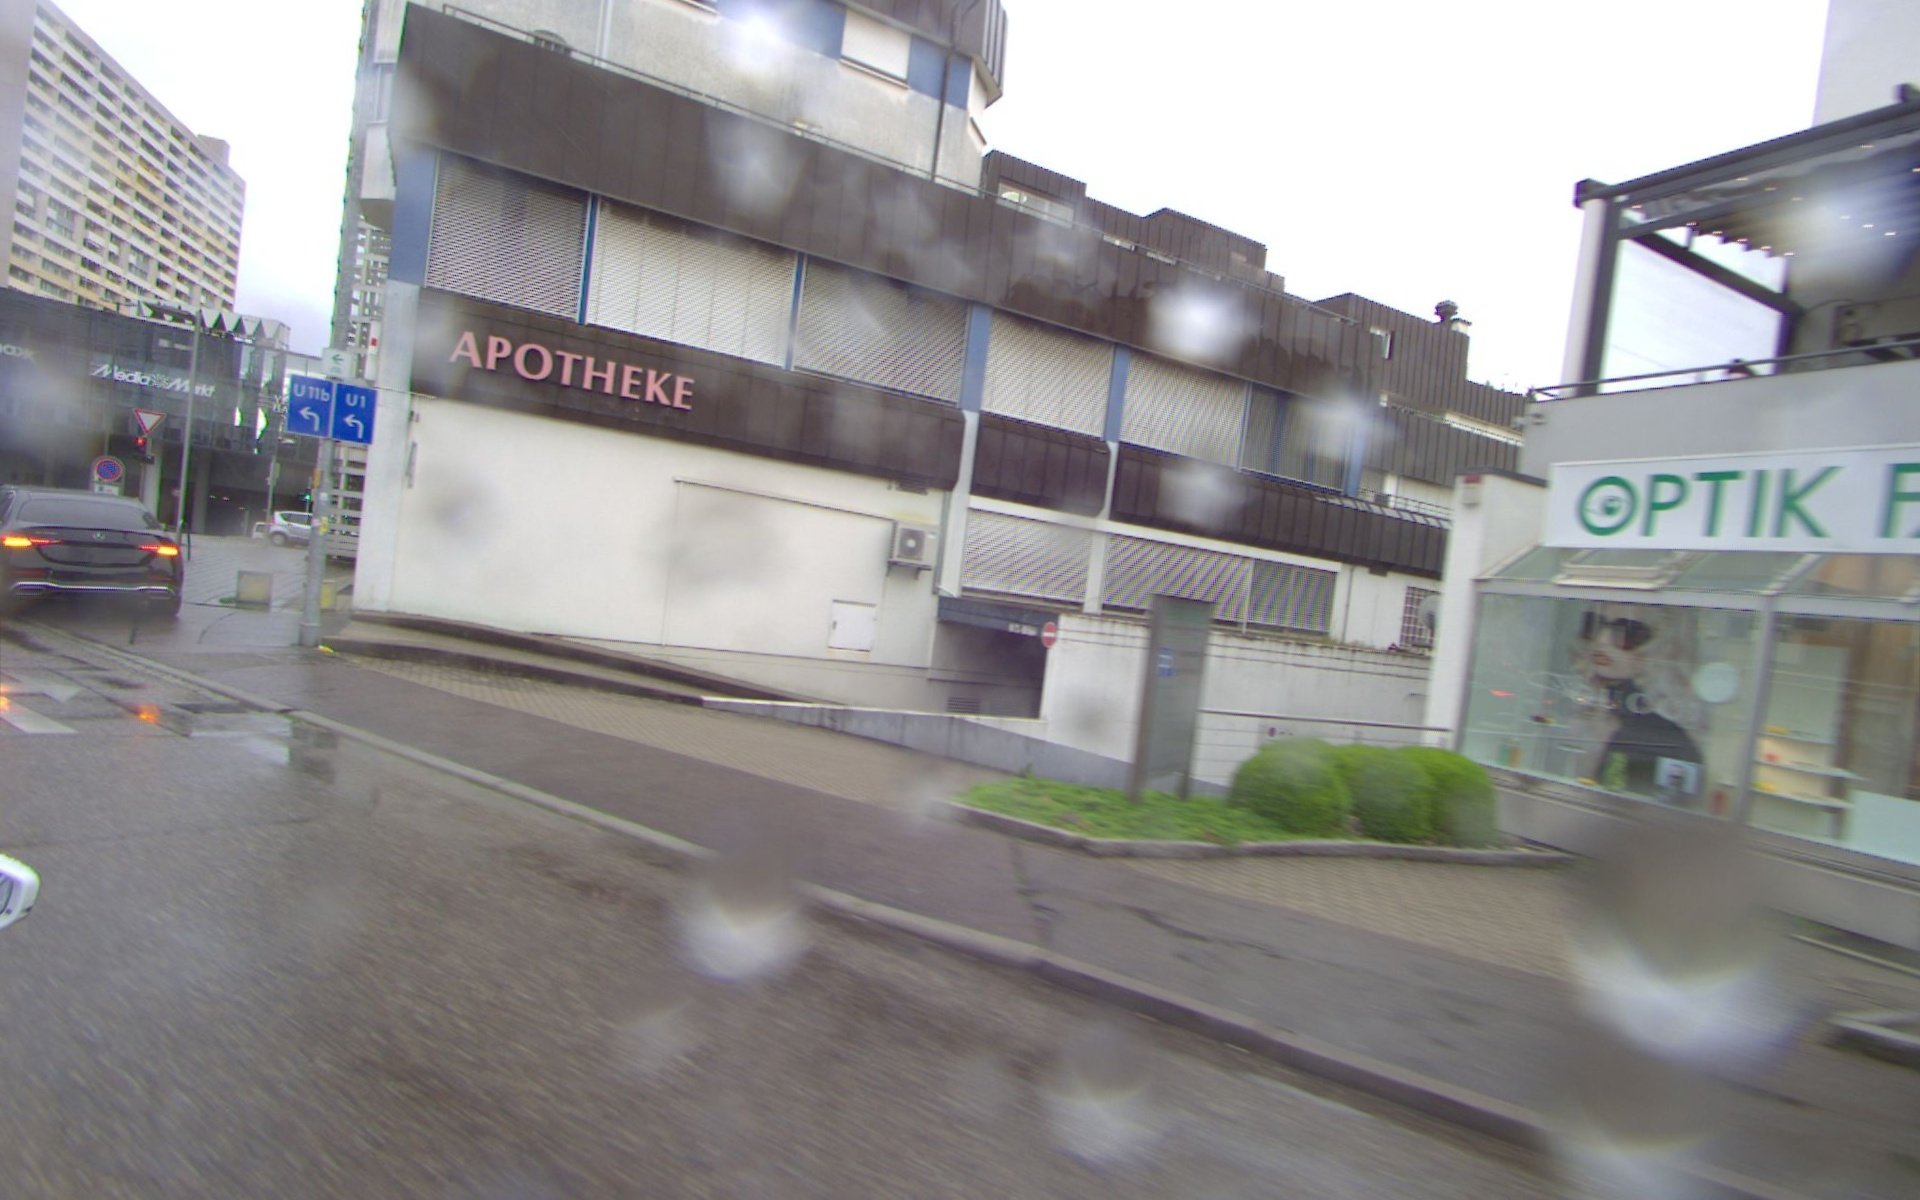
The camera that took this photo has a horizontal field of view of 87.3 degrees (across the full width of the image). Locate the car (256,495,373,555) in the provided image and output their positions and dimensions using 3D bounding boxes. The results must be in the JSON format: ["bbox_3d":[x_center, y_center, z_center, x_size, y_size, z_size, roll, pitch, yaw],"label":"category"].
[{"bbox_3d":[-28.547,-3.281,44.658,3.950,2.039,1.988,7,1,-25],"label":"car"}]

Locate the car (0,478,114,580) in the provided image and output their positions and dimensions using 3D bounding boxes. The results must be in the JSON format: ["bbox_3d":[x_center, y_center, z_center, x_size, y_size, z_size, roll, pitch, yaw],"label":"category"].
[{"bbox_3d":[-16.066,-1.299,17.378,3.944,1.506,1.693,8,4,42],"label":"car"}]

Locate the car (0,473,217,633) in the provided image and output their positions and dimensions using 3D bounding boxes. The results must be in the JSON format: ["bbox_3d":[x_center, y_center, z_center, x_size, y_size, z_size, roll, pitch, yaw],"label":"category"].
[{"bbox_3d":[-11.248,-0.637,12.783,4.585,1.552,1.990,6,-1,43],"label":"car"}]

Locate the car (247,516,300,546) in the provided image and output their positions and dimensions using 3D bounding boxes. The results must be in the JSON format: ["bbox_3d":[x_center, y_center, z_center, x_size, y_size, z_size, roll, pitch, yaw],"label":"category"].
[{"bbox_3d":[-46.191,-4.629,67.749,1.973,1.739,3.978,6,1,-22],"label":"car"}]
